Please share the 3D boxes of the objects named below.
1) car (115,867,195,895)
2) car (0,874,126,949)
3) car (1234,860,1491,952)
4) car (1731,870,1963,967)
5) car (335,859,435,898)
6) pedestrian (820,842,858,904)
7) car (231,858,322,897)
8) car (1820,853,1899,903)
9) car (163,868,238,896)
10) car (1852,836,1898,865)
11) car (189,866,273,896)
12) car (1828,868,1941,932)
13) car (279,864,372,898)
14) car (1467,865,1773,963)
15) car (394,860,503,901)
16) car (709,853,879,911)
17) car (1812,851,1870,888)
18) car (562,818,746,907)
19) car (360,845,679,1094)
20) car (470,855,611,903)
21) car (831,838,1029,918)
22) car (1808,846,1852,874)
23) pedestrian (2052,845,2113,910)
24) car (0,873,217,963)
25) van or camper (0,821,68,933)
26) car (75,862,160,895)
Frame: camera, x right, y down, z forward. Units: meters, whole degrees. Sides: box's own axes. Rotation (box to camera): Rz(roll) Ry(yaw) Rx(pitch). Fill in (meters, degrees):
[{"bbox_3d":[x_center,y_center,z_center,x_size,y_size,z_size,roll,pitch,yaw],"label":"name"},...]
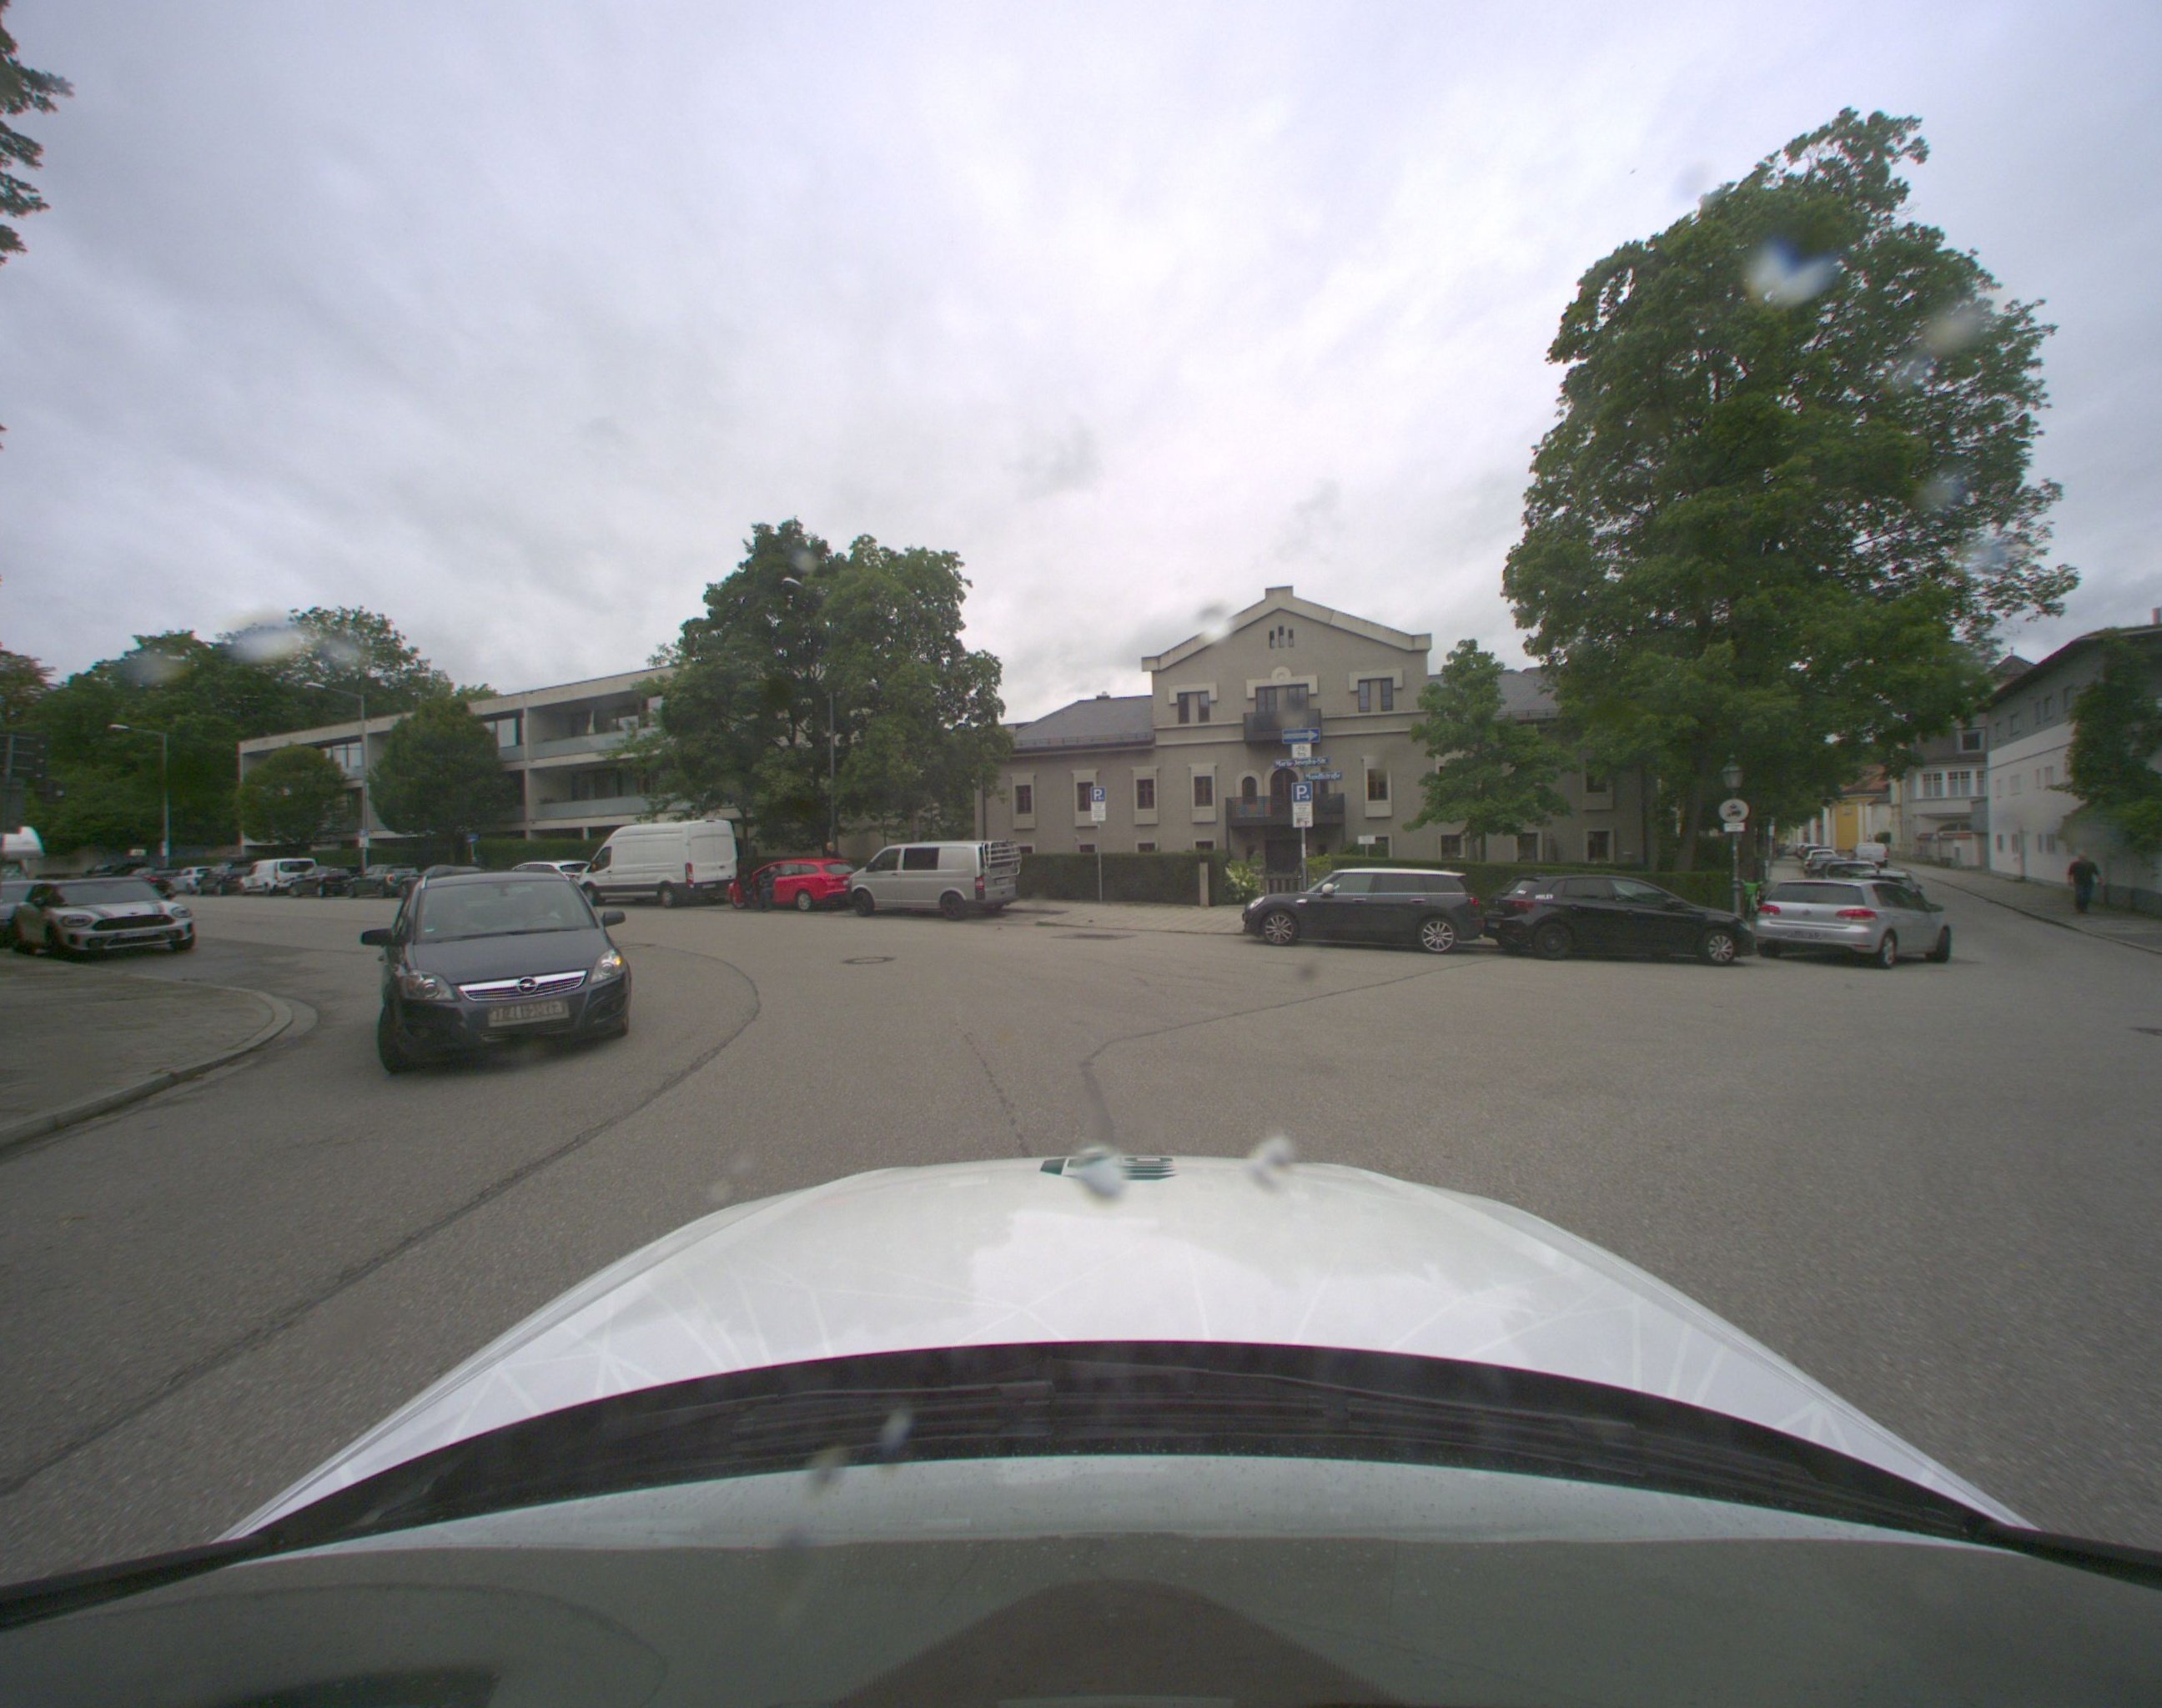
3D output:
[{"bbox_3d":[-53.790,1.562,47.309,4.513,1.539,1.763,-1,0,24],"label":"car"},{"bbox_3d":[-25.639,1.319,19.788,4.762,1.508,1.954,-1,3,26],"label":"car"},{"bbox_3d":[5.131,0.885,15.080,4.219,1.447,1.907,1,-1,20],"label":"car"},{"bbox_3d":[13.890,1.080,14.746,4.026,1.446,1.923,1,1,-29],"label":"car"},{"bbox_3d":[-30.260,1.053,35.408,4.152,1.529,1.743,-1,2,26],"label":"car"},{"bbox_3d":[-7.658,0.595,25.750,0.853,1.904,0.803,0,-1,33],"label":"pedestrian"},{"bbox_3d":[-40.075,1.146,40.542,4.836,1.861,1.839,-1,-1,28],"label":"car"},{"bbox_3d":[28.792,0.840,30.234,1.917,1.662,4.040,0,1,41],"label":"car"},{"bbox_3d":[-48.638,1.525,44.972,3.839,1.480,1.764,-1,0,26],"label":"car"},{"bbox_3d":[57.846,-0.223,59.379,1.974,2.014,4.204,0,0,39],"label":"car"},{"bbox_3d":[-44.653,1.399,42.759,4.540,1.480,1.764,-1,0,27],"label":"car"},{"bbox_3d":[21.687,1.167,22.123,1.917,1.446,4.040,0,1,41],"label":"car"},{"bbox_3d":[-34.994,1.240,37.728,4.189,1.464,1.764,-1,1,26],"label":"car"},{"bbox_3d":[9.081,0.979,14.044,3.981,1.447,1.901,1,-1,6],"label":"car"},{"bbox_3d":[-25.537,1.033,32.828,5.142,1.506,1.293,0,3,26],"label":"car"},{"bbox_3d":[-8.613,0.795,24.410,4.778,1.506,1.888,0,3,25],"label":"car"},{"bbox_3d":[37.235,0.725,39.961,1.917,1.662,4.040,0,1,41],"label":"car"},{"bbox_3d":[-14.194,0.224,27.017,6.013,2.686,2.099,0,3,25],"label":"car"},{"bbox_3d":[-5.674,0.876,7.994,2.011,1.693,4.282,-3,0,-41],"label":"car"},{"bbox_3d":[-20.016,0.883,30.163,4.941,1.569,1.888,0,3,24],"label":"car"},{"bbox_3d":[-4.092,0.584,21.905,5.008,1.904,1.953,0,3,28],"label":"car"},{"bbox_3d":[47.161,0.345,51.344,1.917,1.662,4.040,0,1,41],"label":"car"},{"bbox_3d":[30.818,0.692,25.080,0.939,1.932,1.239,-1,0,40],"label":"pedestrian"},{"bbox_3d":[-20.486,1.244,17.130,4.473,1.534,1.954,-1,3,28],"label":"car"},{"bbox_3d":[-31.686,0.657,22.997,7.120,2.940,2.479,-1,2,28],"label":"van or camper"},{"bbox_3d":[-58.643,1.502,49.555,5.015,1.871,2.006,-2,-1,24],"label":"car"}]
